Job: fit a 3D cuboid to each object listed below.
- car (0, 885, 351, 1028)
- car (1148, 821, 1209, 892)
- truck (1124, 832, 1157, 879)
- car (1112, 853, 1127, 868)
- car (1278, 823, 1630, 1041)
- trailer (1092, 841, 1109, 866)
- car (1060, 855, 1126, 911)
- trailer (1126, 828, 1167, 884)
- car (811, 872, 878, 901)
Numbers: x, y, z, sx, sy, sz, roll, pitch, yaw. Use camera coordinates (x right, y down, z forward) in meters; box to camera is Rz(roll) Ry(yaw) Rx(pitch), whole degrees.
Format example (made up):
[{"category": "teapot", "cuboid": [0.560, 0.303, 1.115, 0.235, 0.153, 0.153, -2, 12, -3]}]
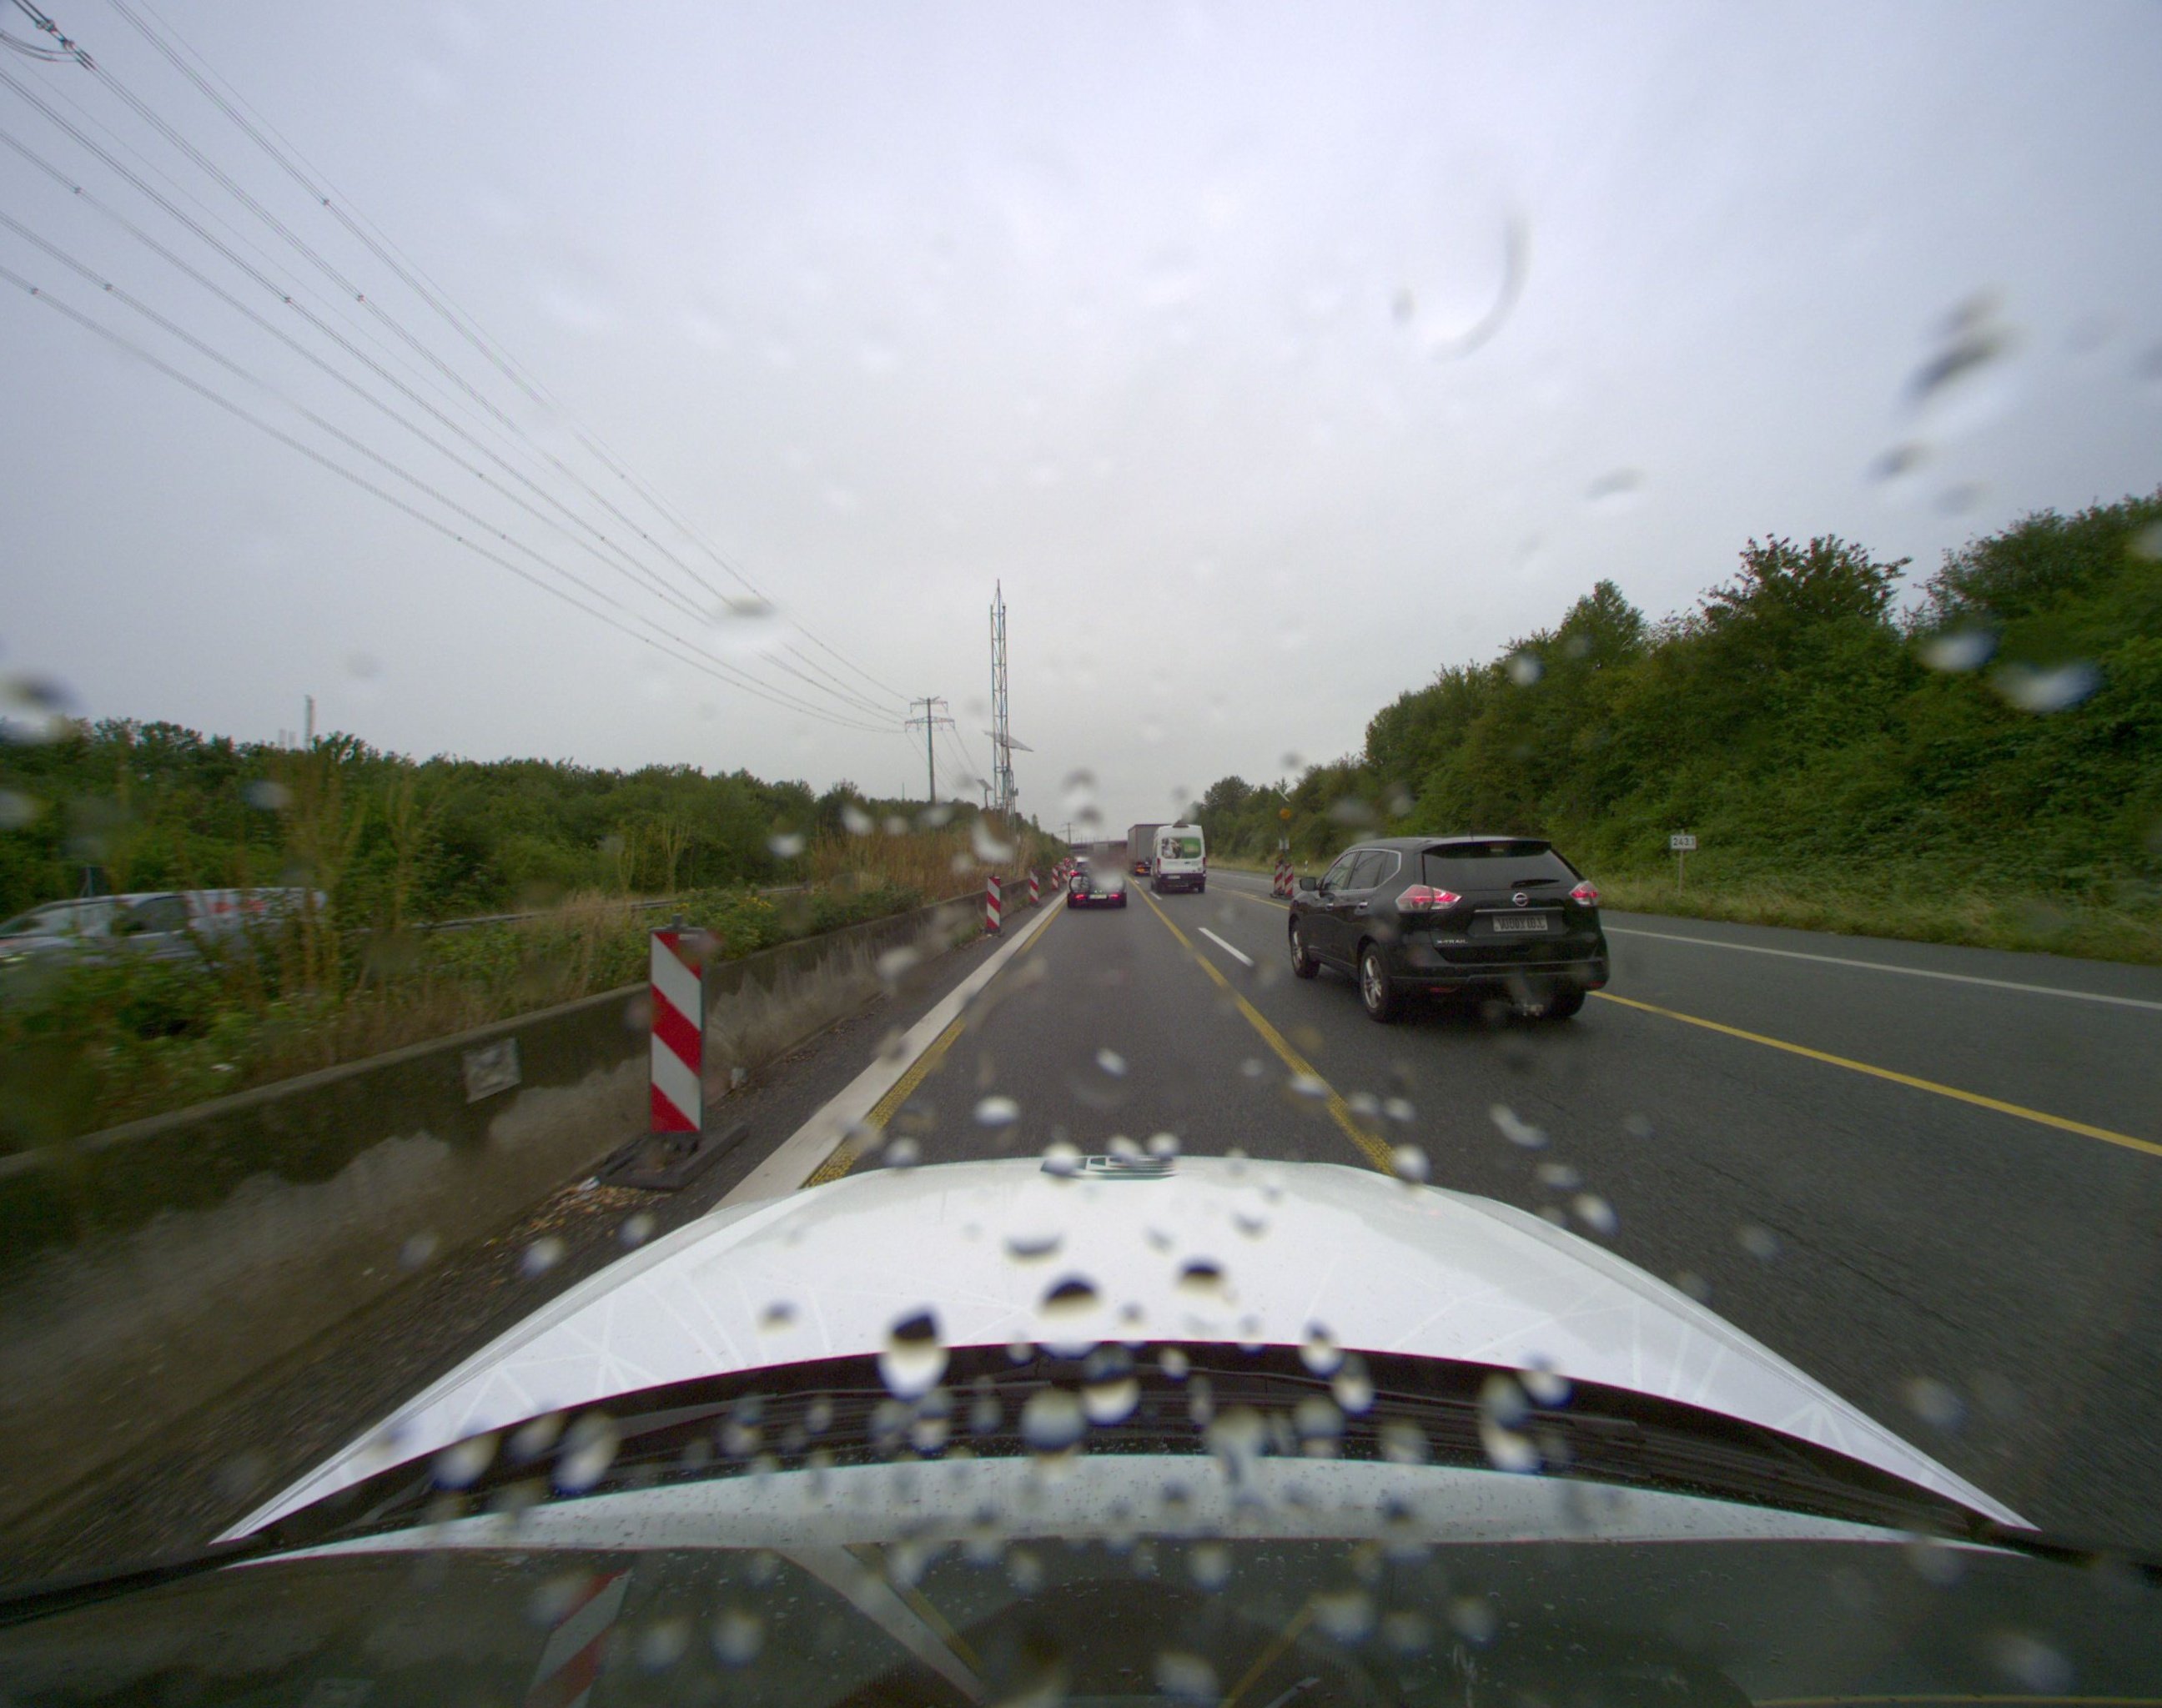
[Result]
[{"category": "car", "cuboid": [-15.122, 1.558, 13.688, 1.695, 1.824, 4.268, -4, 0, 1]}, {"category": "car", "cuboid": [4.108, 0.095, 35.280, 1.986, 2.783, 5.757, -2, 0, 1]}, {"category": "truck", "cuboid": [5.503, 0.122, 75.802, 2.696, 4.138, 5.692, -1, 0, 1]}, {"category": "car", "cuboid": [4.959, 0.872, 105.259, 1.823, 1.839, 4.656, -1, 0, 1]}, {"category": "car", "cuboid": [3.427, 0.614, 8.489, 1.679, 1.658, 4.280, -1, 0, 0]}, {"category": "trailer", "cuboid": [3.437, -0.121, 142.425, 2.683, 4.076, 13.636, -1, 0, 1]}, {"category": "car", "cuboid": [0.395, 0.828, 25.531, 1.843, 1.531, 4.769, -1, 0, 1]}, {"category": "trailer", "cuboid": [5.342, 0.177, 68.837, 2.696, 4.146, 13.736, -1, 0, 2]}, {"category": "car", "cuboid": [-10.638, 1.448, 36.952, 1.726, 1.185, 4.162, -1, -1, 2]}]
